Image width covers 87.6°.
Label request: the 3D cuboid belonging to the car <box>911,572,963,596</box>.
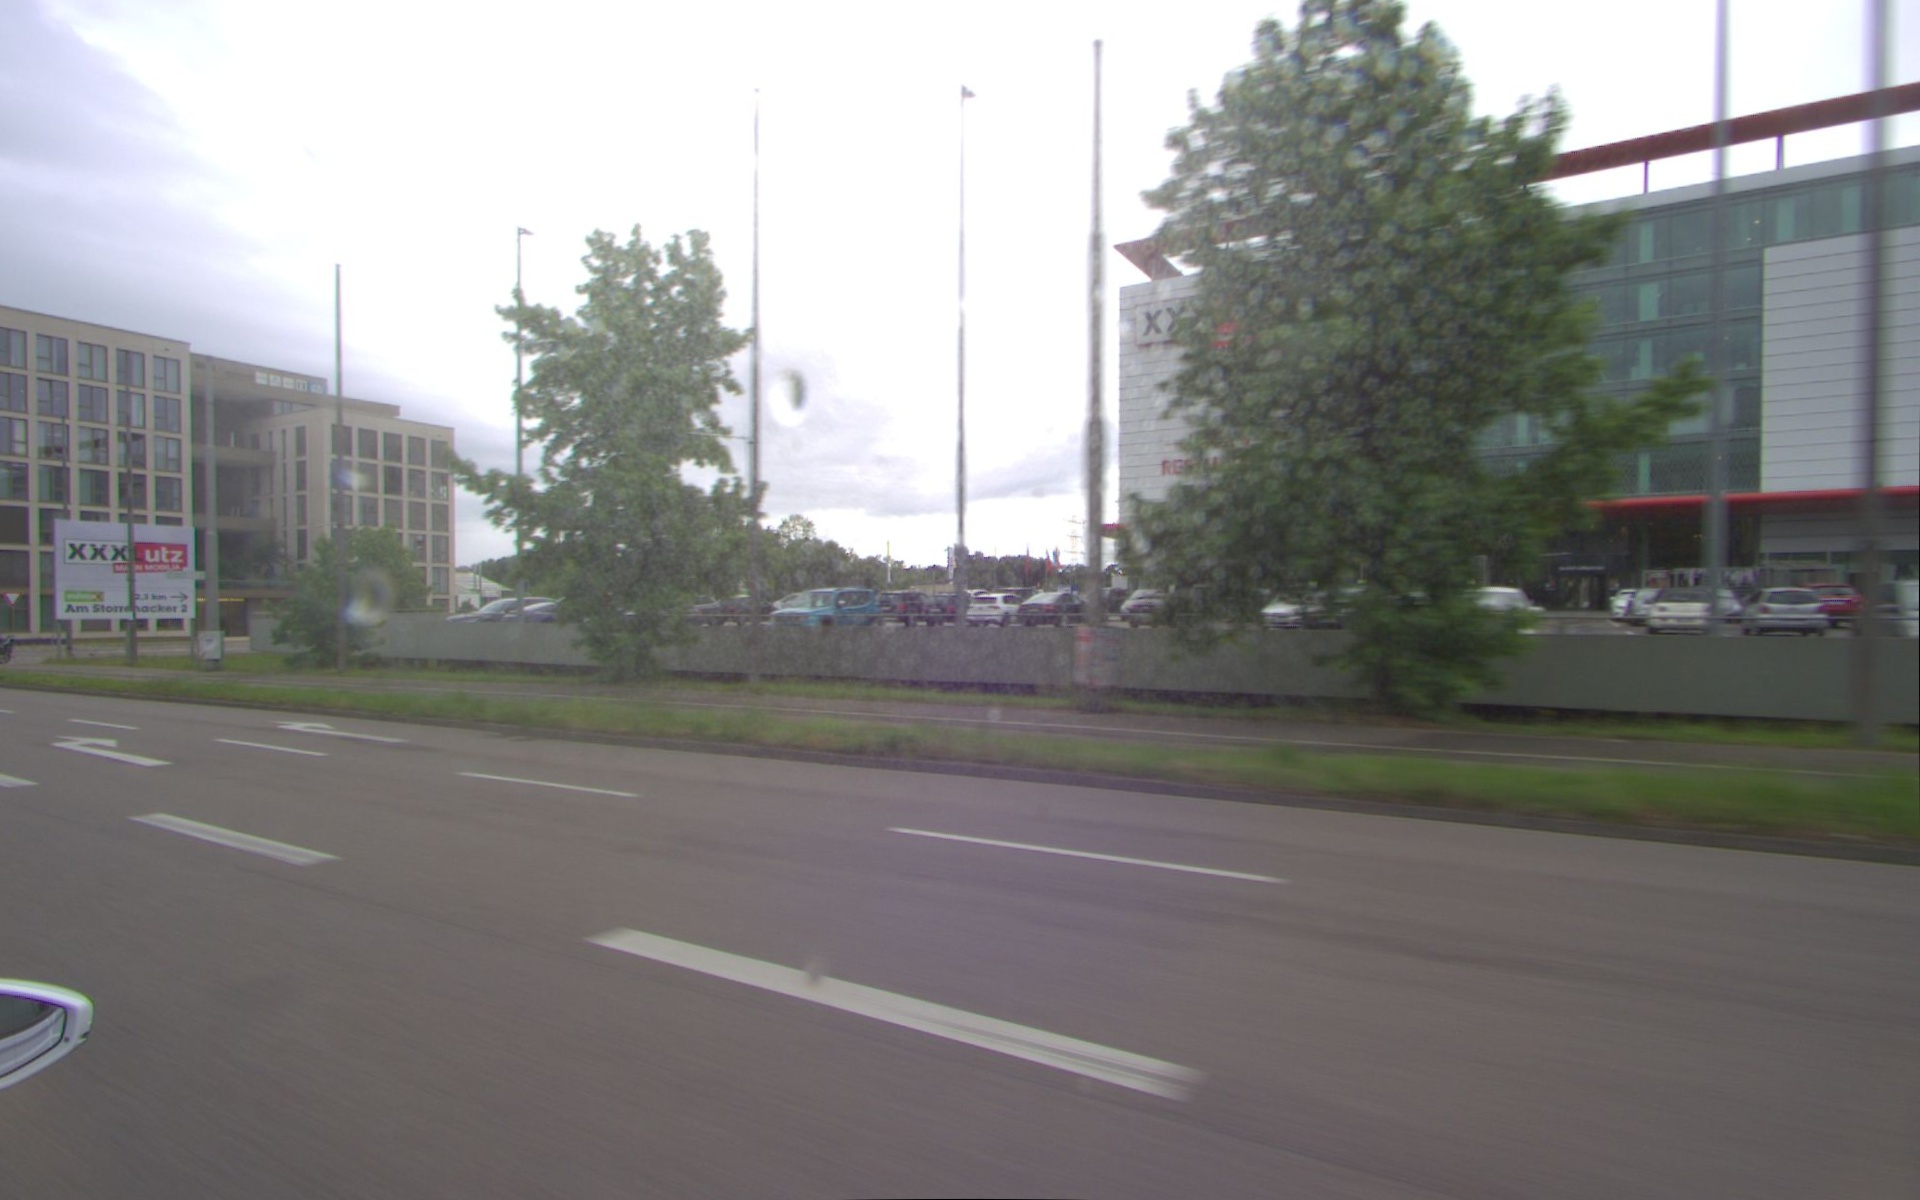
[{"bbox_3d":[-1.909,-1.340,84.129,3.938,1.884,1.896,2,0,29],"label":"car"}]

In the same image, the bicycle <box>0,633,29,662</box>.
[{"bbox_3d":[-43.555,2.141,45.386,1.972,1.312,0.702,1,0,-4],"label":"bicycle"}]

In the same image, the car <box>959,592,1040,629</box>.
[{"bbox_3d":[1.751,0.447,43.567,1.759,1.528,3.833,1,0,34],"label":"car"}]

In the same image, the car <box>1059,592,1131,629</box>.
[{"bbox_3d":[6.077,0.490,44.857,1.678,1.576,3.621,2,0,36],"label":"car"}]

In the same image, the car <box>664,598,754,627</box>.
[{"bbox_3d":[-12.198,0.605,48.796,1.729,1.333,4.095,2,0,36],"label":"car"}]

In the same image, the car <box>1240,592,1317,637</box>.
[{"bbox_3d":[11.800,0.521,36.952,1.819,1.539,4.224,2,0,30],"label":"car"}]

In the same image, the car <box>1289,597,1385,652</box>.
[{"bbox_3d":[12.193,0.747,32.225,1.972,1.613,4.357,2,1,33],"label":"car"}]

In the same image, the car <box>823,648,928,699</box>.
[{"bbox_3d":[-3.366,2.934,40.668,1.972,1.855,4.358,-1,-2,33],"label":"car"}]

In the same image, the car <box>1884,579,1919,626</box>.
[{"bbox_3d":[33.808,0.110,35.025,1.717,1.607,3.558,-1,-2,36],"label":"car"}]

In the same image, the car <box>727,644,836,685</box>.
[{"bbox_3d":[-6.577,2.349,37.302,1.739,1.367,4.047,-1,-2,32],"label":"car"}]

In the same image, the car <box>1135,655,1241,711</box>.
[{"bbox_3d":[6.672,2.339,28.991,1.739,1.367,4.046,-1,-2,33],"label":"car"}]

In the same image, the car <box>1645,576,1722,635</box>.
[{"bbox_3d":[22.527,0.174,31.300,1.709,1.724,3.728,2,0,33],"label":"car"}]

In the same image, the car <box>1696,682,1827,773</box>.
[{"bbox_3d":[17.664,2.733,22.253,1.738,1.571,4.048,-1,-2,31],"label":"car"}]

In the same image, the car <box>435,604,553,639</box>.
[{"bbox_3d":[-17.256,0.778,37.223,1.695,1.192,3.687,1,0,32],"label":"car"}]

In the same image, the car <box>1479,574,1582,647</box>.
[{"bbox_3d":[11.537,0.204,20.432,1.580,1.325,3.513,2,0,26],"label":"car"}]

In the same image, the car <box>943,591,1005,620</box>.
[{"bbox_3d":[0.806,0.323,56.090,1.678,1.515,3.621,2,0,36],"label":"car"}]

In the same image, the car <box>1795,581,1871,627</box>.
[{"bbox_3d":[31.808,0.165,36.581,1.719,1.574,3.781,2,0,36],"label":"car"}]

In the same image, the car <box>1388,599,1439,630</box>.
[{"bbox_3d":[22.287,0.713,49.112,1.678,1.394,3.585,2,0,34],"label":"car"}]

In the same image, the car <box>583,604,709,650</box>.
[{"bbox_3d":[-10.311,0.859,33.147,1.694,1.402,3.868,1,0,30],"label":"car"}]

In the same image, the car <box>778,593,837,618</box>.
[{"bbox_3d":[-10.377,0.396,68.205,1.840,1.598,3.980,-1,-2,32],"label":"car"}]

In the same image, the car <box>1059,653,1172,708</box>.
[{"bbox_3d":[3.830,1.899,24.299,1.494,1.146,3.508,-1,-2,32],"label":"car"}]

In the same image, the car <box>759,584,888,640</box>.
[{"bbox_3d":[-4.010,0.353,30.022,1.784,1.545,4.065,1,0,28],"label":"car"}]

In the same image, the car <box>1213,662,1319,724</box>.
[{"bbox_3d":[6.873,2.008,22.289,1.434,1.146,3.508,-1,-2,32],"label":"car"}]

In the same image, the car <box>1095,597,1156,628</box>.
[{"bbox_3d":[8.566,0.633,51.655,1.678,1.515,3.621,2,0,36],"label":"car"}]

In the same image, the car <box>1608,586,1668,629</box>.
[{"bbox_3d":[30.139,0.328,44.611,1.787,1.805,3.978,2,0,29],"label":"car"}]

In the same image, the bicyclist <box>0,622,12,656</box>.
[{"bbox_3d":[-43.773,1.743,45.362,0.981,1.523,0.702,0,0,-4],"label":"bicyclist"}]

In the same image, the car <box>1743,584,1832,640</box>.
[{"bbox_3d":[24.445,0.348,29.680,1.589,1.546,3.555,2,0,33],"label":"car"}]

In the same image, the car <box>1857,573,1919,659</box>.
[{"bbox_3d":[16.746,0.298,16.768,1.737,1.368,4.048,2,0,30],"label":"car"}]

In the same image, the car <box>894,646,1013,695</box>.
[{"bbox_3d":[-0.113,1.816,26.636,1.583,1.146,3.508,-1,-2,32],"label":"car"}]

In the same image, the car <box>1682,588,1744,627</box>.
[{"bbox_3d":[32.268,0.341,42.987,1.717,1.574,3.786,2,0,31],"label":"car"}]

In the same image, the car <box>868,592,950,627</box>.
[{"bbox_3d":[-2.294,0.427,45.841,1.759,1.528,3.832,1,0,35],"label":"car"}]

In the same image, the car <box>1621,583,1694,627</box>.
[{"bbox_3d":[27.478,0.209,39.591,1.837,1.606,4.282,2,0,28],"label":"car"}]

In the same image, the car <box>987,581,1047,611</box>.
[{"bbox_3d":[3.133,-0.197,54.812,1.580,1.576,3.621,2,0,36],"label":"car"}]

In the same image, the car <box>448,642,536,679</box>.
[{"bbox_3d":[-27.546,3.536,58.910,5.036,2.039,2.451,-1,-2,33],"label":"car"}]

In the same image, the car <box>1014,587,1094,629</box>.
[{"bbox_3d":[3.948,0.341,41.518,1.678,1.654,3.621,2,0,36],"label":"car"}]

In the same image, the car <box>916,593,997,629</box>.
[{"bbox_3d":[-0.108,0.471,45.015,1.759,1.528,3.832,1,0,35],"label":"car"}]

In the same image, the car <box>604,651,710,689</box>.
[{"bbox_3d":[-12.331,2.807,40.966,1.738,1.367,4.048,-1,-2,31],"label":"car"}]

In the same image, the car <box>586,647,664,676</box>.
[{"bbox_3d":[-16.981,3.090,50.848,1.438,1.303,3.612,2,0,34],"label":"car"}]

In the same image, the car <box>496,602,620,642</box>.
[{"bbox_3d":[-14.486,0.781,36.267,1.695,1.369,3.917,1,0,32],"label":"car"}]

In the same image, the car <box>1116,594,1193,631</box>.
[{"bbox_3d":[7.694,0.496,39.370,1.677,1.374,3.624,2,0,34],"label":"car"}]
